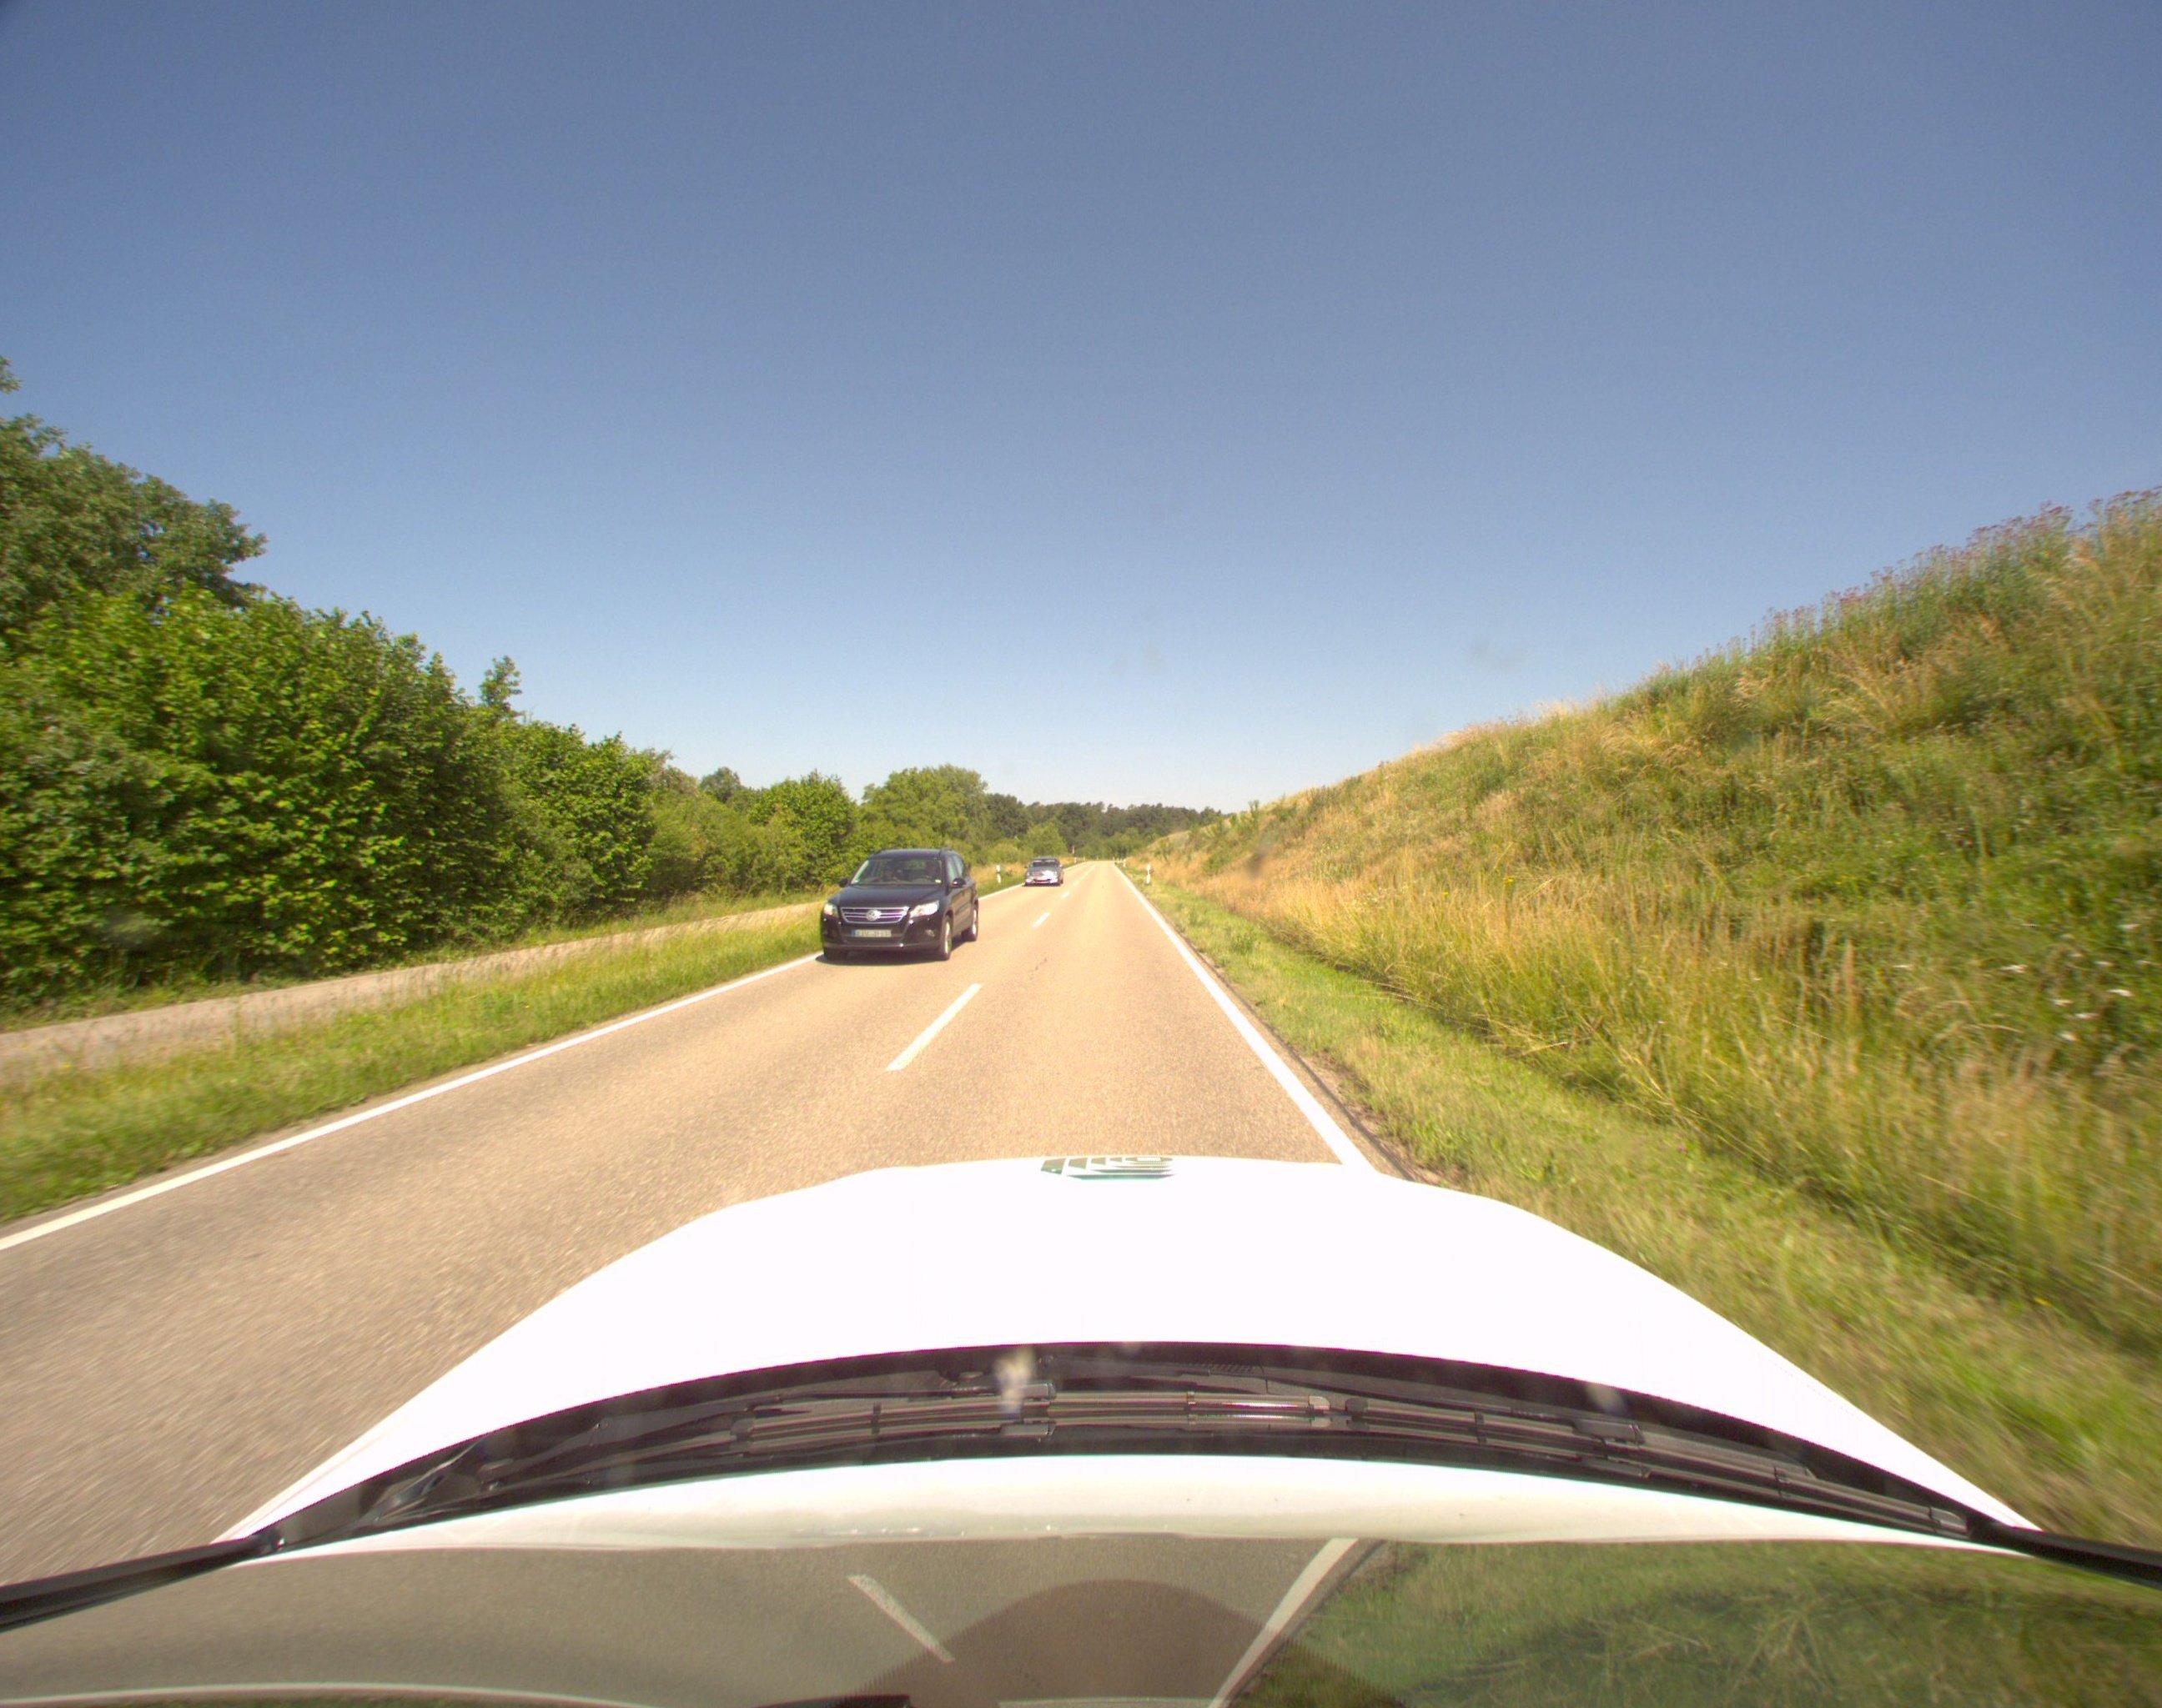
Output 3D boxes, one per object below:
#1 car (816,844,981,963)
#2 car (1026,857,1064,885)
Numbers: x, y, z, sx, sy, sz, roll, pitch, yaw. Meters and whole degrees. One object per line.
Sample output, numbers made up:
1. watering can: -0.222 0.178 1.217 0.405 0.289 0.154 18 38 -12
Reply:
1. car: -2.766 0.687 13.199 1.710 1.647 3.915 0 0 1
2. car: -1.798 0.863 41.788 1.717 1.354 4.000 1 -1 0
